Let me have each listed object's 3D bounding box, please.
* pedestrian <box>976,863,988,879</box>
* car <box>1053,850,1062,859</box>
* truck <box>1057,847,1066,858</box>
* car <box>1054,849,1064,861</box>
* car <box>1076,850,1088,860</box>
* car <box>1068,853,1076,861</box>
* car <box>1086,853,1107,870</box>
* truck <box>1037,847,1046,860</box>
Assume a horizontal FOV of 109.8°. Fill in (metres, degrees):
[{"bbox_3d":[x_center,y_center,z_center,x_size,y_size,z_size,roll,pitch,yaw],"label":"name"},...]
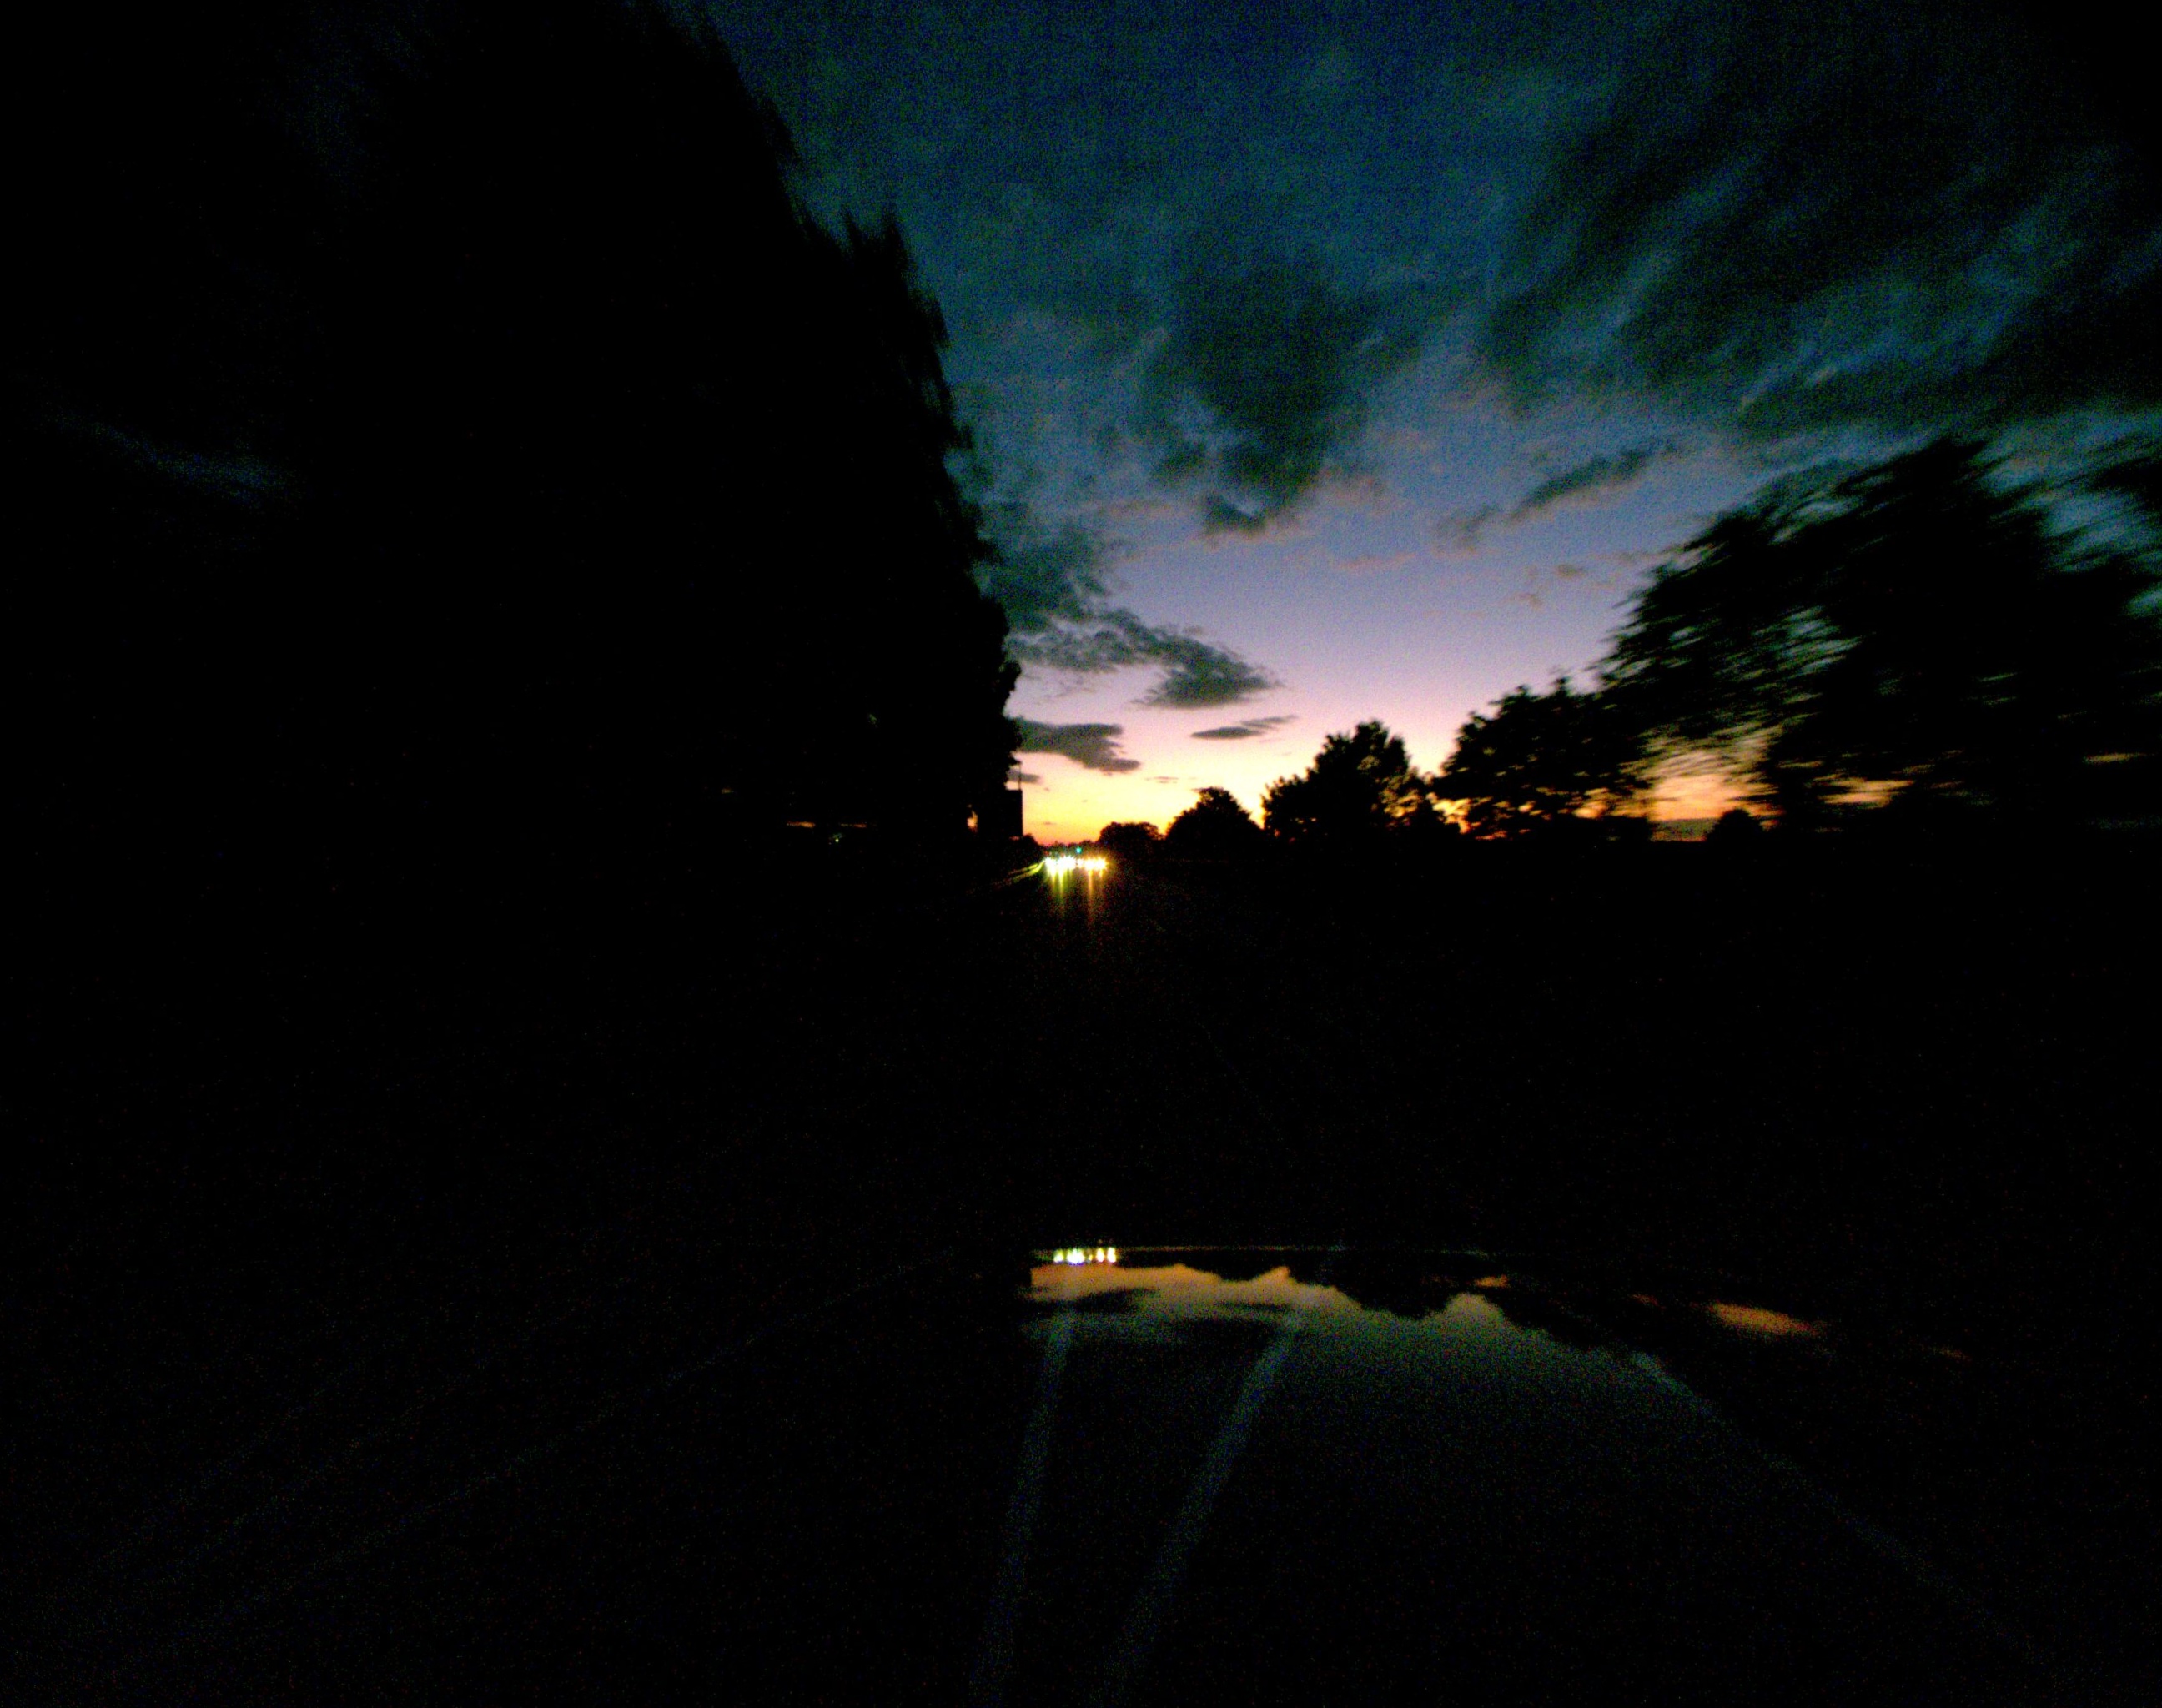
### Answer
[{"bbox_3d":[-10.904,1.882,83.791,1.065,1.633,1.118,-2,1,-2],"label":"pedestrian"},{"bbox_3d":[-5.617,0.081,182.495,1.999,2.002,3.999,-2,0,-1],"label":"car"},{"bbox_3d":[-6.749,-0.519,262.135,3.016,3.674,9.057,-2,0,-1],"label":"truck"},{"bbox_3d":[-4.003,0.209,136.827,1.741,2.002,3.999,-2,0,-2],"label":"car"},{"bbox_3d":[0.124,0.206,142.615,1.999,1.778,3.999,-2,0,-2],"label":"car"},{"bbox_3d":[-2.373,0.799,204.470,1.999,2.002,3.999,-2,0,-1],"label":"car"},{"bbox_3d":[1.592,0.804,80.186,1.999,1.635,4.296,-2,0,-1],"label":"car"},{"bbox_3d":[-11.705,-0.111,224.771,2.491,3.778,5.497,-2,1,-1],"label":"truck"}]
